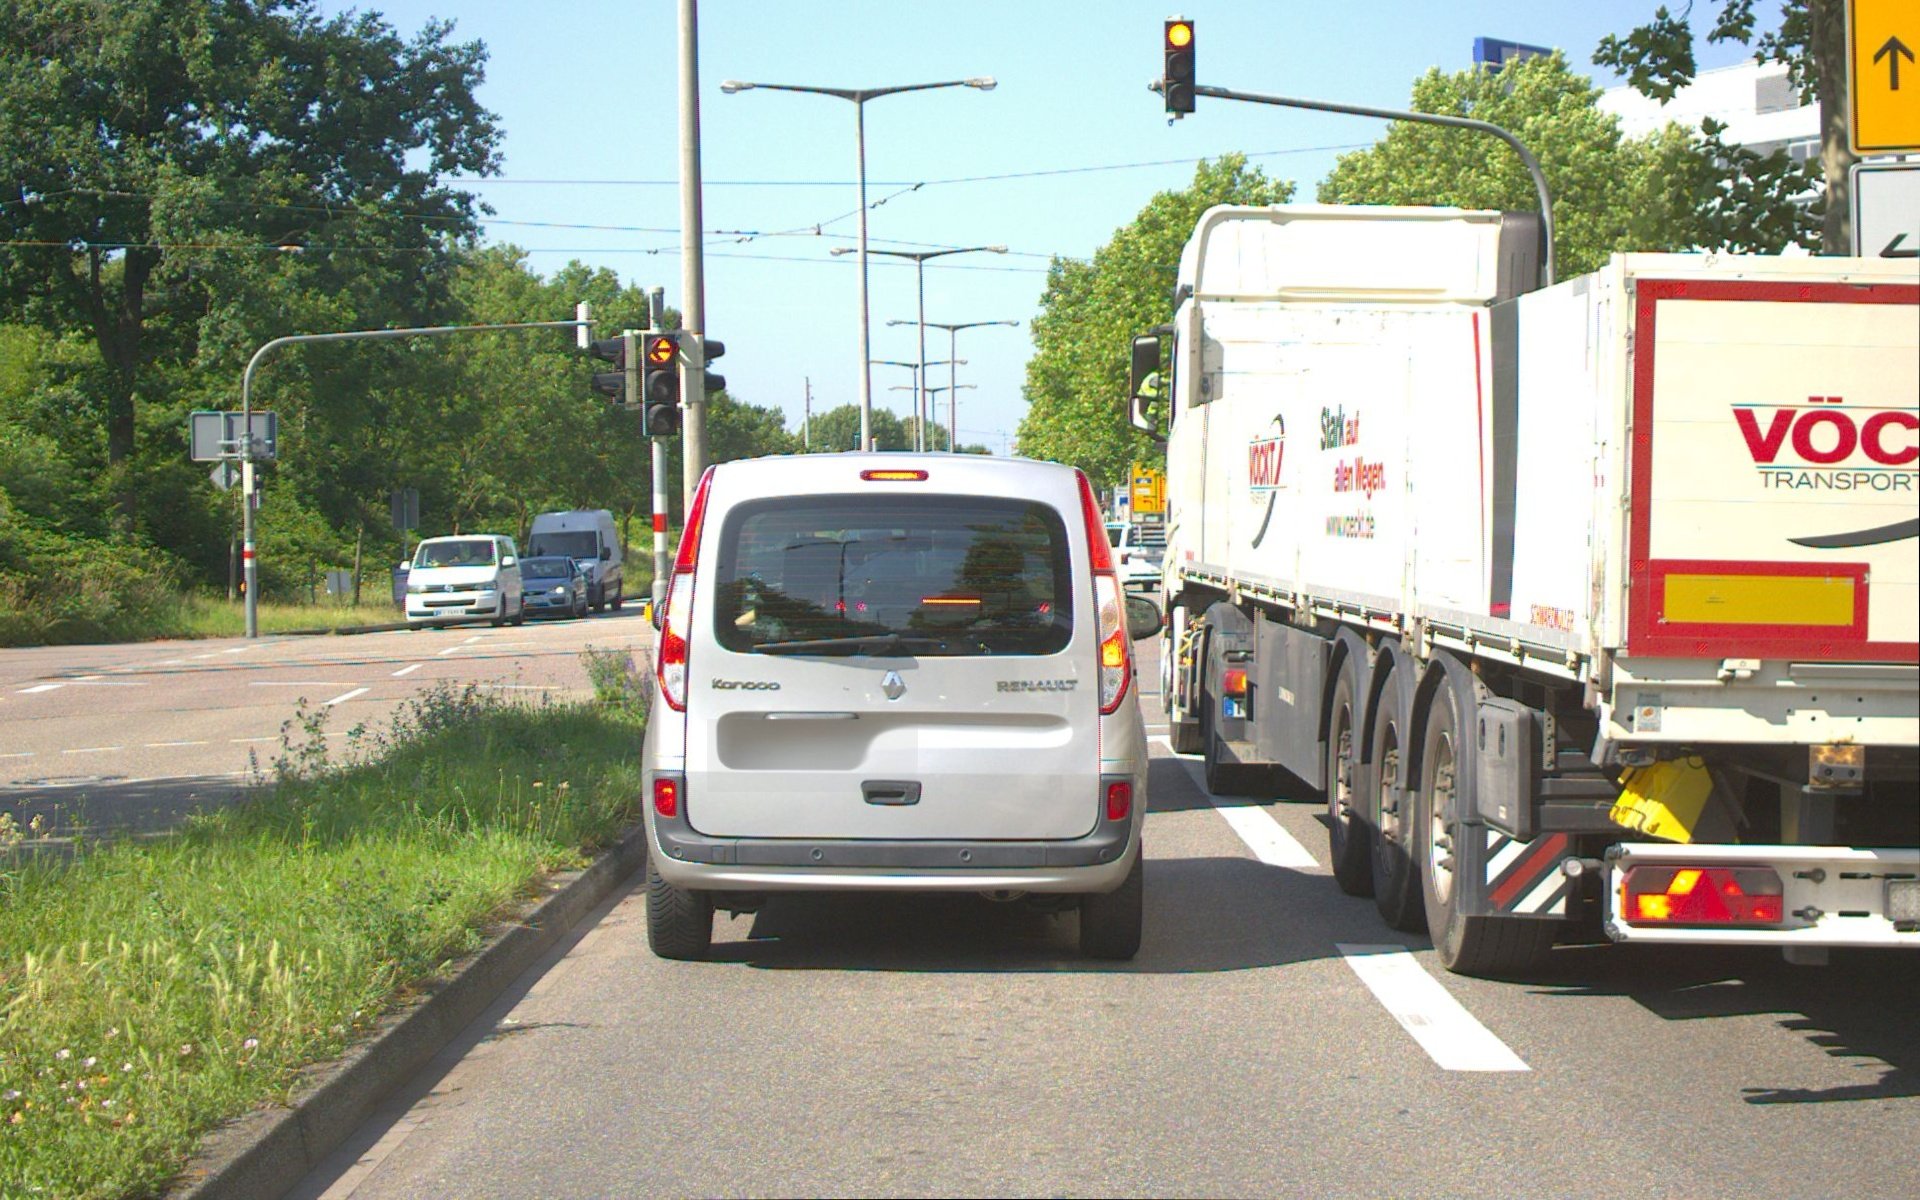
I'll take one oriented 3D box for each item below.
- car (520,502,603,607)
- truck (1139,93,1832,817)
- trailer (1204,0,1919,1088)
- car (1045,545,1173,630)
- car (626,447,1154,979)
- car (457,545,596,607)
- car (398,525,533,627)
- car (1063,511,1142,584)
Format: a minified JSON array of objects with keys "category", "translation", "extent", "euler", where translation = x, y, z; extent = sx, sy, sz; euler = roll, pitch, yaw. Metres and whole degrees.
[{"category":"car","translation":[-10.201,-1.170,88.218],"extent":[2.058,2.605,5.871],"euler":[0,1,-6]},{"category":"truck","translation":[2.923,-0.802,21.589],"extent":[3.071,3.745,7.477],"euler":[0,1,-1]},{"category":"trailer","translation":[2.940,-0.805,14.158],"extent":[3.016,3.728,12.240],"euler":[0,1,0]},{"category":"car","translation":[2.923,-0.262,68.107],"extent":[1.993,1.634,4.001],"euler":[0,1,-5]},{"category":"car","translation":[-0.252,0.349,13.415],"extent":[1.749,1.766,3.949],"euler":[0,1,0]},{"category":"car","translation":[-10.183,-0.582,80.481],"extent":[1.911,1.404,4.228],"euler":[0,1,-27]},{"category":"car","translation":[-9.917,-0.507,69.304],"extent":[1.993,1.884,4.988],"euler":[-3,1,-1]},{"category":"car","translation":[3.995,-1.490,96.912],"extent":[1.993,2.007,4.000],"euler":[0,1,-1]}]
